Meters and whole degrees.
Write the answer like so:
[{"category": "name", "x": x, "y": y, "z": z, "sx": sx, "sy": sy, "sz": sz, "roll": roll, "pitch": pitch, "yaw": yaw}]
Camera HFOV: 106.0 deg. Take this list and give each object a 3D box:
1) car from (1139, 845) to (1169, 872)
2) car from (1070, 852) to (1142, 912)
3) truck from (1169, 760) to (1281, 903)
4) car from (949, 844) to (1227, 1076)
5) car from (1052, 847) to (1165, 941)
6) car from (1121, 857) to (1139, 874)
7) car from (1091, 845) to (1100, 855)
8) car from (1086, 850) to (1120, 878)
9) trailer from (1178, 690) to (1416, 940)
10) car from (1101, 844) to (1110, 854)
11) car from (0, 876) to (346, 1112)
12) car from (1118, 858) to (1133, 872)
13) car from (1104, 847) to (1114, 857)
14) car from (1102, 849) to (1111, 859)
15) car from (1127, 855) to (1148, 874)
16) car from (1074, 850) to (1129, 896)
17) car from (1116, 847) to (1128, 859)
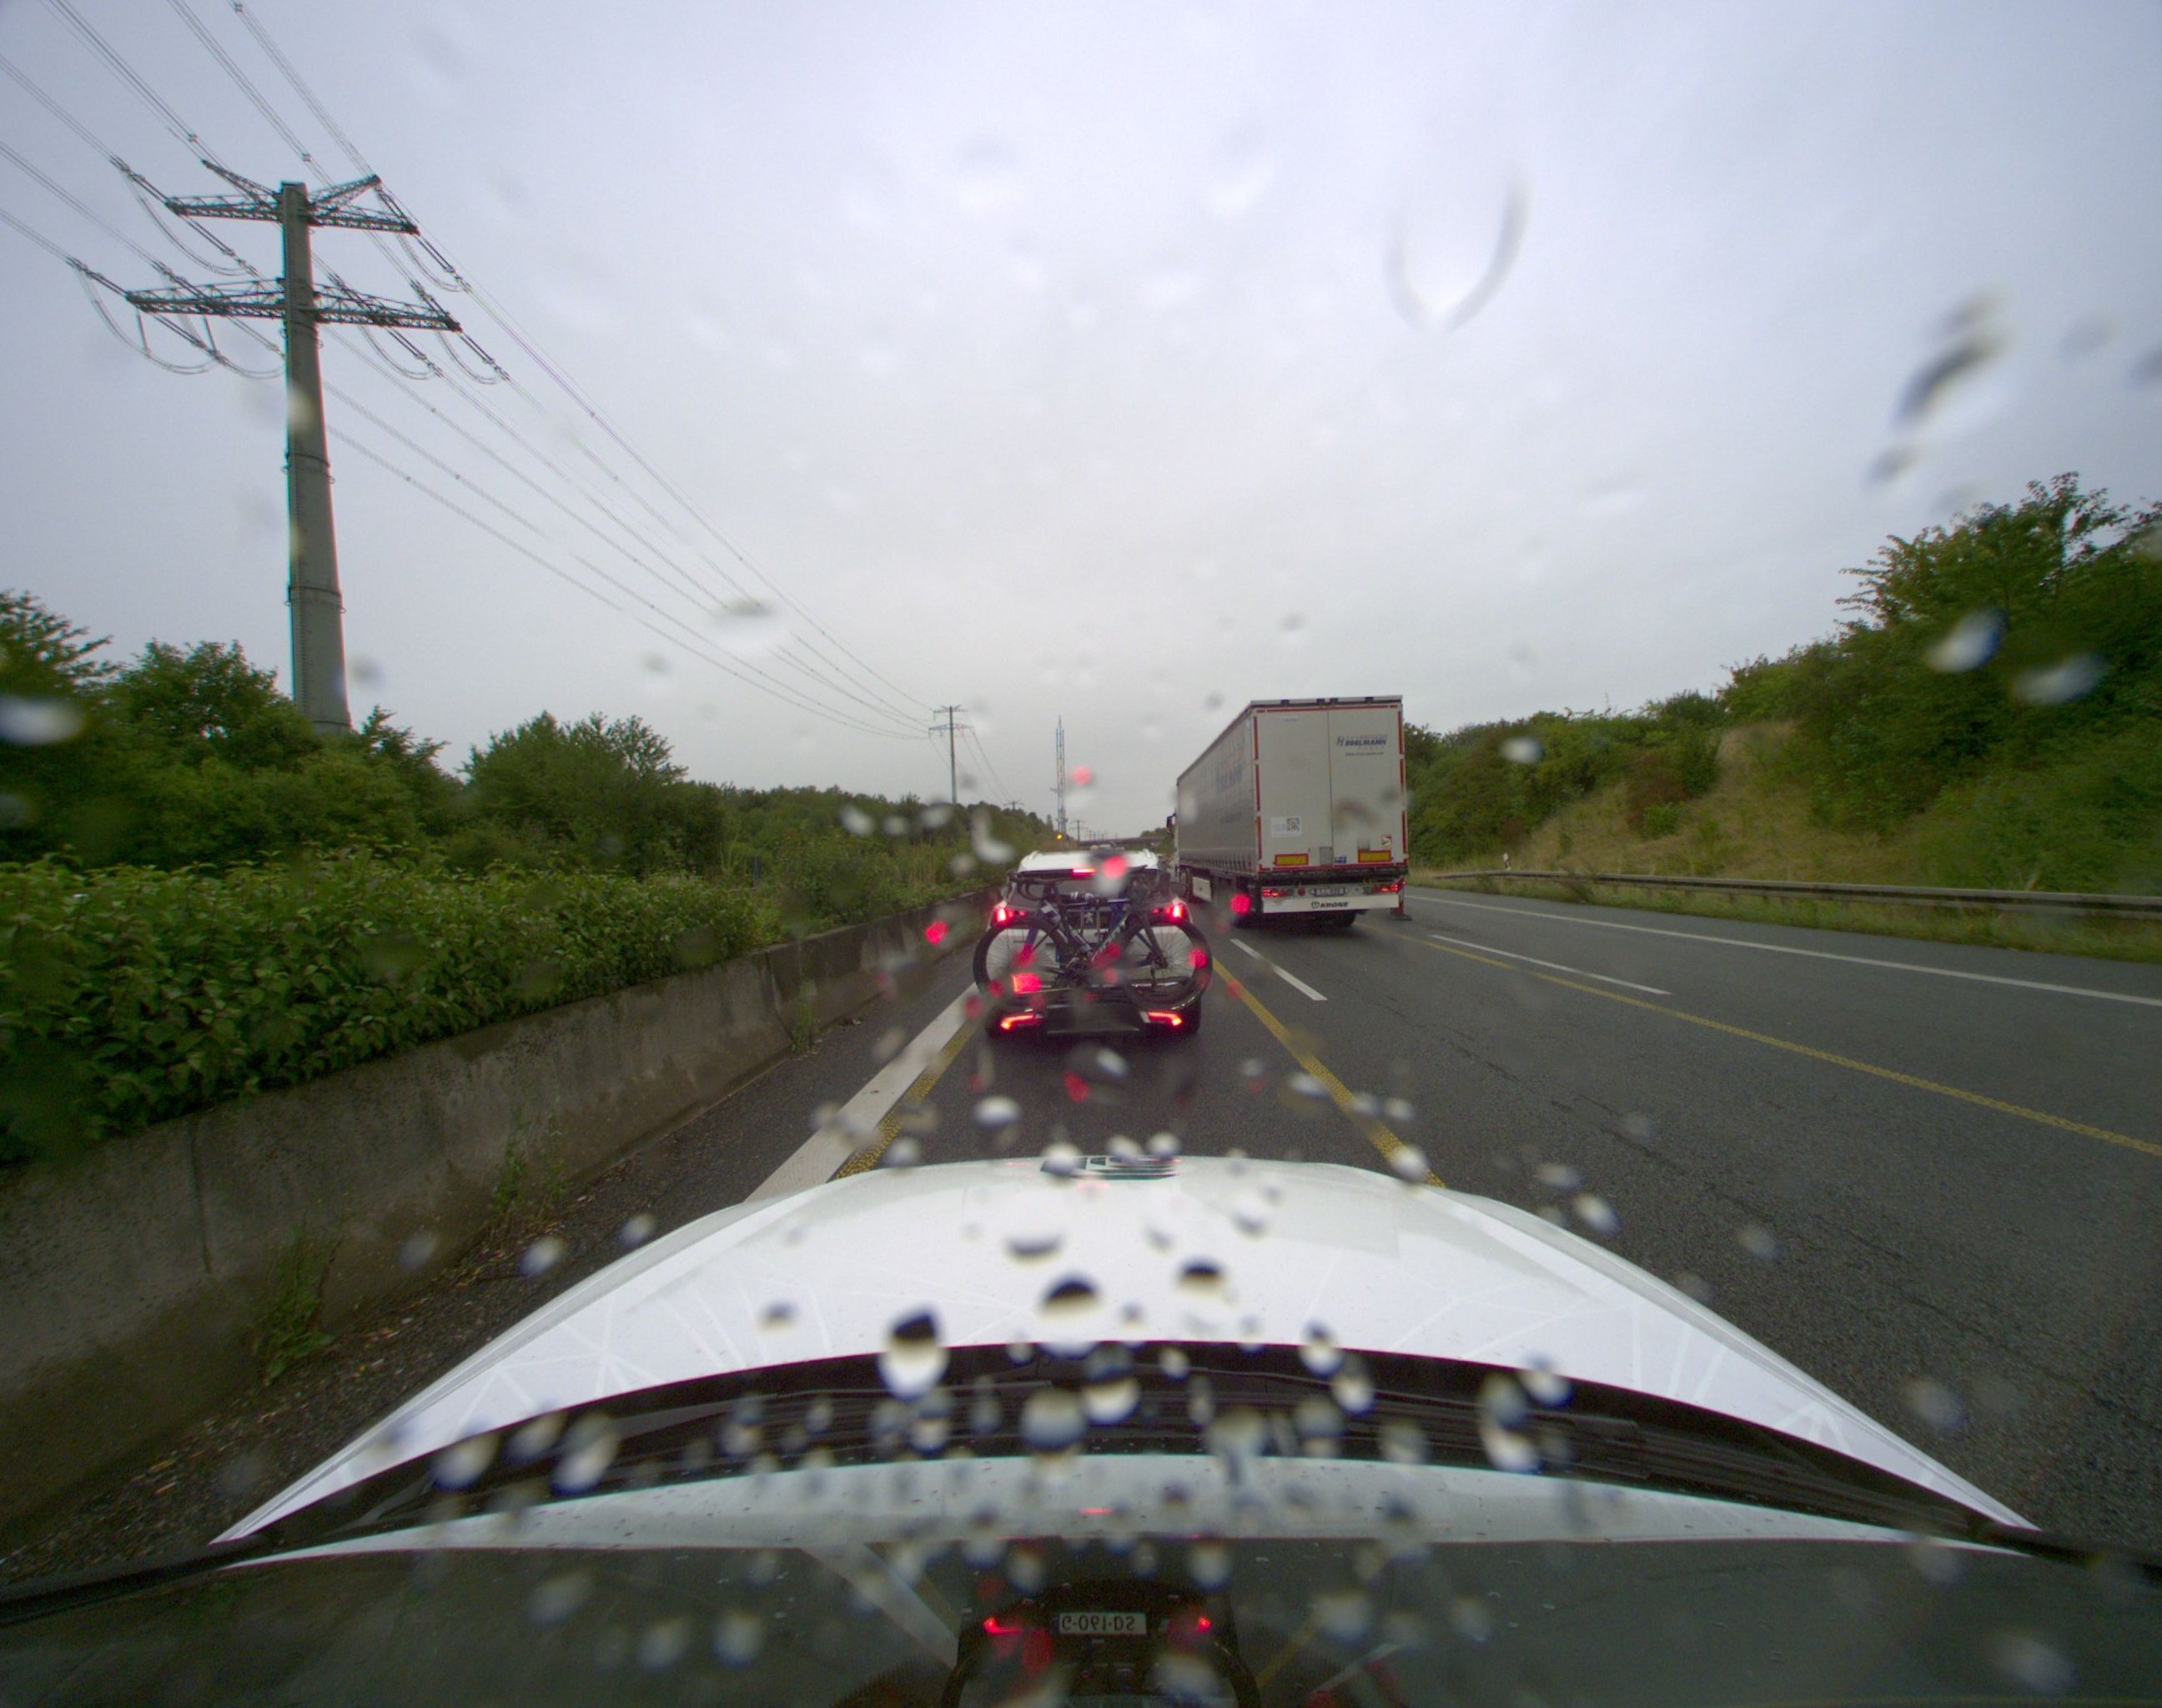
[{"category": "car", "x": 5.576, "y": 0.313, "z": 62.568, "sx": 2.102, "sy": 1.973, "sz": 4.002, "roll": -1, "pitch": 1, "yaw": 2}, {"category": "car", "x": 0.720, "y": 0.726, "z": 23.098, "sx": 1.843, "sy": 1.531, "sz": 4.002, "roll": -1, "pitch": 0, "yaw": 2}, {"category": "truck", "x": 4.501, "y": -0.651, "z": 26.773, "sx": 2.650, "sy": 4.076, "sz": 6.542, "roll": -1, "pitch": 0, "yaw": 2}, {"category": "car", "x": 0.124, "y": 0.715, "z": 7.872, "sx": 1.843, "sy": 1.531, "sz": 4.770, "roll": -1, "pitch": 0, "yaw": 2}, {"category": "car", "x": 0.524, "y": 0.661, "z": 15.470, "sx": 1.843, "sy": 1.531, "sz": 4.002, "roll": -1, "pitch": 0, "yaw": 2}, {"category": "car", "x": 6.401, "y": 1.479, "z": 106.887, "sx": 2.140, "sy": 1.973, "sz": 4.002, "roll": -1, "pitch": 1, "yaw": 2}, {"category": "car", "x": 3.820, "y": -1.003, "z": 210.121, "sx": 2.249, "sy": 2.424, "sz": 4.002, "roll": -1, "pitch": 1, "yaw": 2}, {"category": "car", "x": 1.296, "y": 0.538, "z": 46.659, "sx": 1.843, "sy": 1.531, "sz": 4.002, "roll": -1, "pitch": 0, "yaw": 2}, {"category": "trailer", "x": 4.378, "y": -0.651, "z": 20.298, "sx": 2.682, "sy": 4.076, "sz": 13.639, "roll": -1, "pitch": 0, "yaw": 2}, {"category": "car", "x": 5.325, "y": -1.150, "z": 175.371, "sx": 1.924, "sy": 1.973, "sz": 4.002, "roll": -1, "pitch": 1, "yaw": 2}, {"category": "car", "x": -10.241, "y": 1.287, "z": 8.144, "sx": 1.986, "sy": 1.930, "sz": 4.002, "roll": -2, "pitch": 0, "yaw": 2}, {"category": "car", "x": 6.529, "y": 1.592, "z": 120.737, "sx": 2.140, "sy": 1.973, "sz": 4.002, "roll": -1, "pitch": 1, "yaw": 2}, {"category": "car", "x": 5.672, "y": -0.375, "z": 163.062, "sx": 1.924, "sy": 1.910, "sz": 4.002, "roll": -1, "pitch": 1, "yaw": 2}, {"category": "car", "x": 5.285, "y": 0.084, "z": 169.844, "sx": 1.924, "sy": 1.973, "sz": 4.002, "roll": -1, "pitch": 1, "yaw": 2}, {"category": "car", "x": 6.237, "y": 1.169, "z": 90.656, "sx": 2.140, "sy": 1.973, "sz": 4.001, "roll": -1, "pitch": 1, "yaw": 1}, {"category": "car", "x": 0.750, "y": 0.648, "z": 29.431, "sx": 1.843, "sy": 1.531, "sz": 4.002, "roll": -1, "pitch": 0, "yaw": 2}, {"category": "car", "x": 7.087, "y": -0.251, "z": 141.963, "sx": 1.924, "sy": 1.973, "sz": 4.002, "roll": -1, "pitch": 1, "yaw": 2}]
